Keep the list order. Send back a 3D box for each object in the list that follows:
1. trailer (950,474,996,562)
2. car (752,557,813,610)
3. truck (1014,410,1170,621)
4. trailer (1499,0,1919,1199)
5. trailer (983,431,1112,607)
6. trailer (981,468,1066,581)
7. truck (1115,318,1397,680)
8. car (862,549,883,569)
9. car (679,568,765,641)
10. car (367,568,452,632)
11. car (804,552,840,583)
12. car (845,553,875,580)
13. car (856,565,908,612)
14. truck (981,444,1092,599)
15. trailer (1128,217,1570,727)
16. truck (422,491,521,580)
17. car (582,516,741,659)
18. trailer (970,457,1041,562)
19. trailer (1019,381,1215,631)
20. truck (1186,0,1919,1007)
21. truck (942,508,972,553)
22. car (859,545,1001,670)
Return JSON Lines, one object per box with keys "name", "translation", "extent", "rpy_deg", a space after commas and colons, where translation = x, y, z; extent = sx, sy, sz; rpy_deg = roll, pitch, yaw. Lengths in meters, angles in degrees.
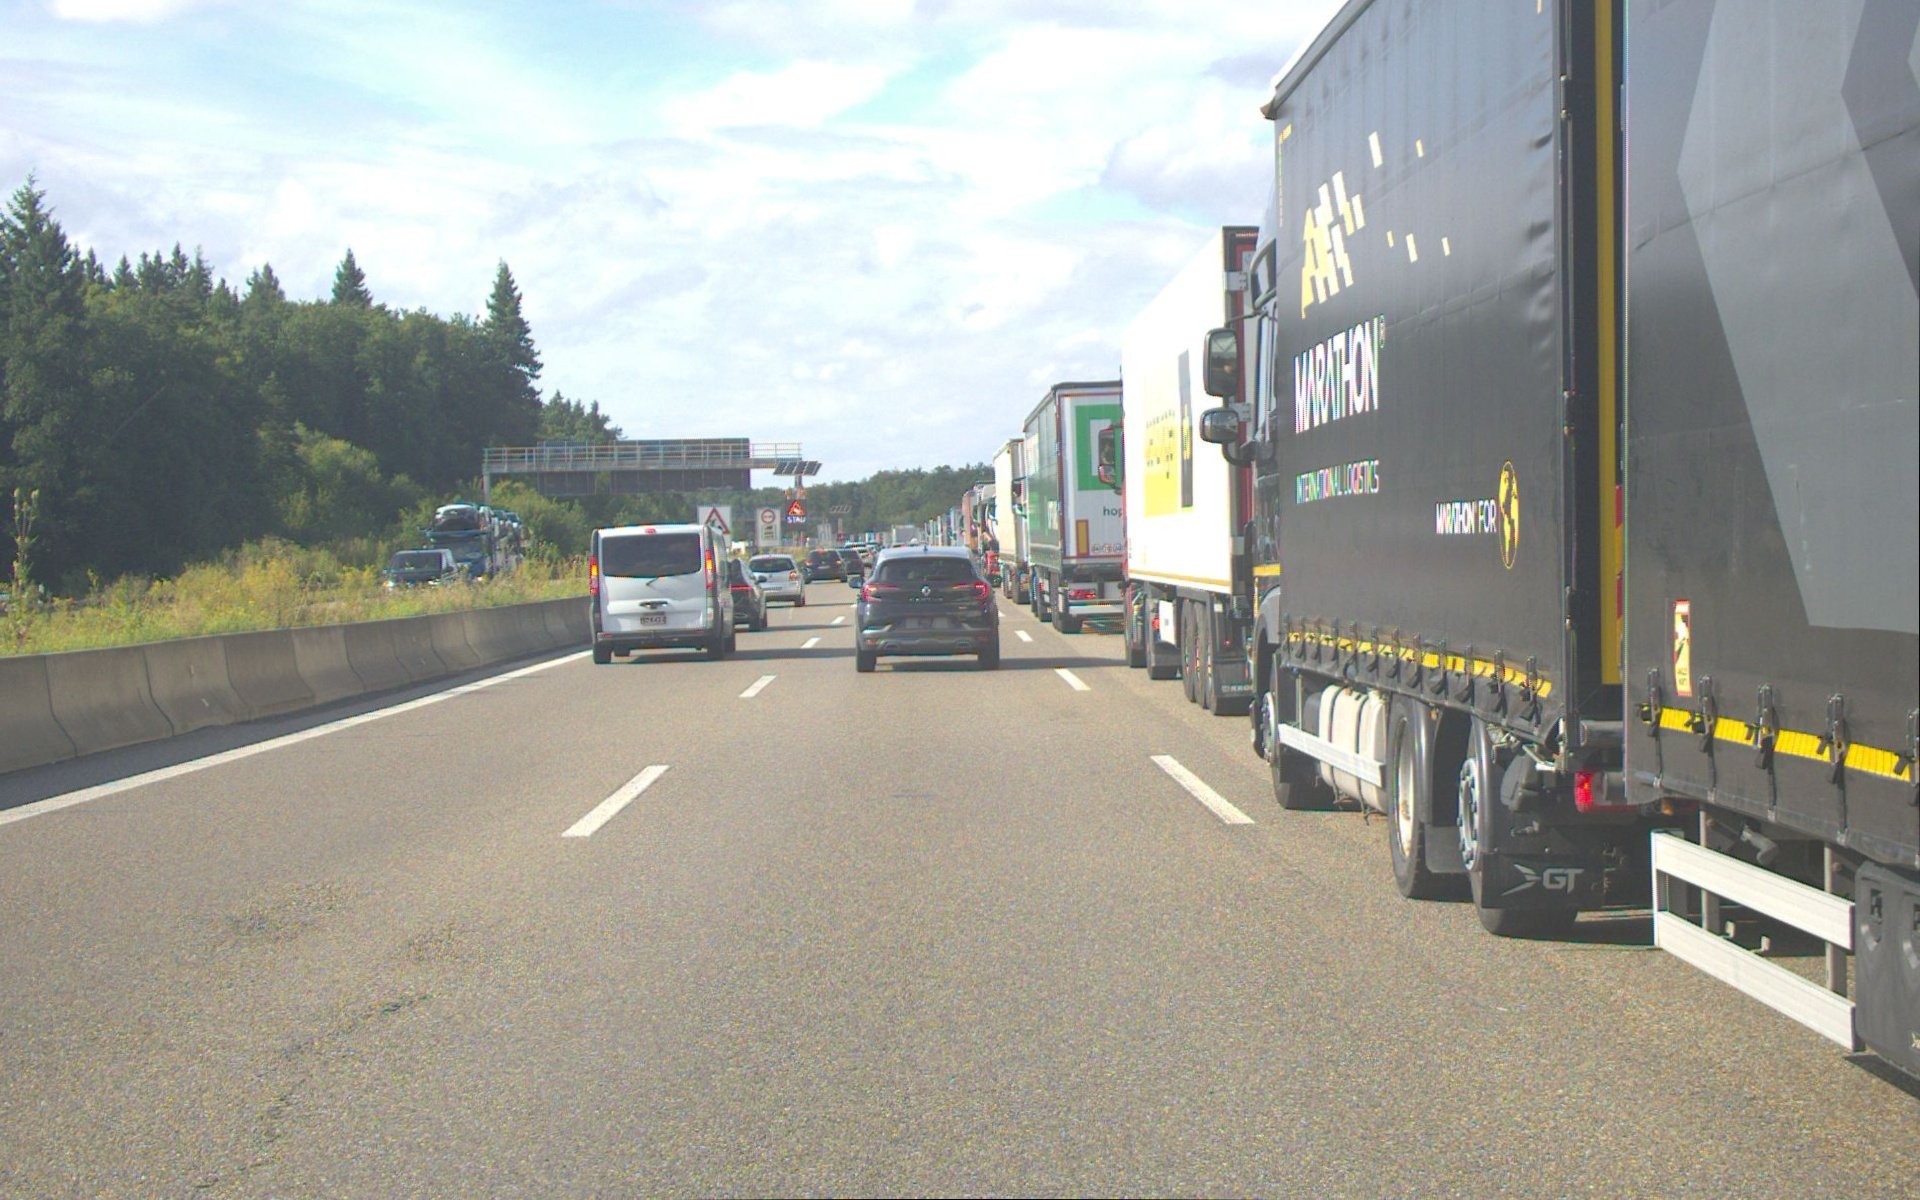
{"name": "trailer", "translation": [0.633, -4.029, 171.074], "extent": [2.150, 4.244, 8.440], "rpy_deg": [-2, 1, 0]}
{"name": "car", "translation": [-4.858, -0.457, 94.343], "extent": [1.500, 1.391, 3.476], "rpy_deg": [1, 1, -1]}
{"name": "truck", "translation": [2.522, -1.615, 67.682], "extent": [2.647, 3.855, 6.996], "rpy_deg": [-2, 1, 0]}
{"name": "trailer", "translation": [3.149, -0.672, 6.145], "extent": [2.715, 3.947, 8.712], "rpy_deg": [1, 1, -1]}
{"name": "trailer", "translation": [2.115, -2.022, 87.639], "extent": [2.703, 4.068, 12.945], "rpy_deg": [-2, 1, 0]}
{"name": "trailer", "translation": [2.111, -2.518, 117.598], "extent": [2.541, 3.641, 10.627], "rpy_deg": [-2, 1, 0]}
{"name": "truck", "translation": [3.366, -1.129, 40.454], "extent": [2.802, 3.925, 5.826], "rpy_deg": [-1, 0, 0]}
{"name": "car", "translation": [-5.918, -2.787, 231.971], "extent": [1.361, 1.296, 3.085], "rpy_deg": [1, 1, -1]}
{"name": "car", "translation": [-4.712, 0.072, 68.348], "extent": [1.500, 1.391, 3.476], "rpy_deg": [0, 1, -1]}
{"name": "car", "translation": [-17.046, -0.019, 106.542], "extent": [1.878, 1.870, 4.490], "rpy_deg": [1, 1, 0]}
{"name": "car", "translation": [-5.942, -1.405, 148.368], "extent": [1.434, 1.305, 3.533], "rpy_deg": [1, 1, -1]}
{"name": "car", "translation": [-4.944, -1.653, 170.661], "extent": [1.434, 1.305, 3.533], "rpy_deg": [1, 1, -1]}
{"name": "car", "translation": [-2.453, -0.375, 107.537], "extent": [1.581, 1.391, 3.208], "rpy_deg": [1, 1, -1]}
{"name": "truck", "translation": [2.052, -2.120, 94.668], "extent": [2.708, 4.046, 6.362], "rpy_deg": [-2, 1, 0]}
{"name": "trailer", "translation": [3.344, -1.058, 33.249], "extent": [2.792, 3.925, 13.070], "rpy_deg": [-1, 1, 0]}
{"name": "truck", "translation": [-21.249, -2.757, 150.235], "extent": [2.831, 3.676, 11.133], "rpy_deg": [-2, 1, -1]}
{"name": "car", "translation": [-4.385, -0.207, 51.164], "extent": [1.933, 1.972, 5.099], "rpy_deg": [1, 1, -1]}
{"name": "trailer", "translation": [1.907, -3.800, 147.847], "extent": [2.802, 4.229, 11.057], "rpy_deg": [-2, 1, 0]}
{"name": "trailer", "translation": [2.574, -1.542, 60.599], "extent": [2.661, 3.855, 13.395], "rpy_deg": [-2, 1, 0]}
{"name": "truck", "translation": [2.904, -0.820, 15.583], "extent": [2.740, 4.024, 10.203], "rpy_deg": [1, 1, -1]}
{"name": "truck", "translation": [-0.199, -4.879, 242.757], "extent": [1.993, 3.042, 4.981], "rpy_deg": [1, 1, 0]}
{"name": "car", "translation": [-0.388, 0.068, 43.855], "extent": [1.696, 1.478, 4.160], "rpy_deg": [1, 1, -1]}
